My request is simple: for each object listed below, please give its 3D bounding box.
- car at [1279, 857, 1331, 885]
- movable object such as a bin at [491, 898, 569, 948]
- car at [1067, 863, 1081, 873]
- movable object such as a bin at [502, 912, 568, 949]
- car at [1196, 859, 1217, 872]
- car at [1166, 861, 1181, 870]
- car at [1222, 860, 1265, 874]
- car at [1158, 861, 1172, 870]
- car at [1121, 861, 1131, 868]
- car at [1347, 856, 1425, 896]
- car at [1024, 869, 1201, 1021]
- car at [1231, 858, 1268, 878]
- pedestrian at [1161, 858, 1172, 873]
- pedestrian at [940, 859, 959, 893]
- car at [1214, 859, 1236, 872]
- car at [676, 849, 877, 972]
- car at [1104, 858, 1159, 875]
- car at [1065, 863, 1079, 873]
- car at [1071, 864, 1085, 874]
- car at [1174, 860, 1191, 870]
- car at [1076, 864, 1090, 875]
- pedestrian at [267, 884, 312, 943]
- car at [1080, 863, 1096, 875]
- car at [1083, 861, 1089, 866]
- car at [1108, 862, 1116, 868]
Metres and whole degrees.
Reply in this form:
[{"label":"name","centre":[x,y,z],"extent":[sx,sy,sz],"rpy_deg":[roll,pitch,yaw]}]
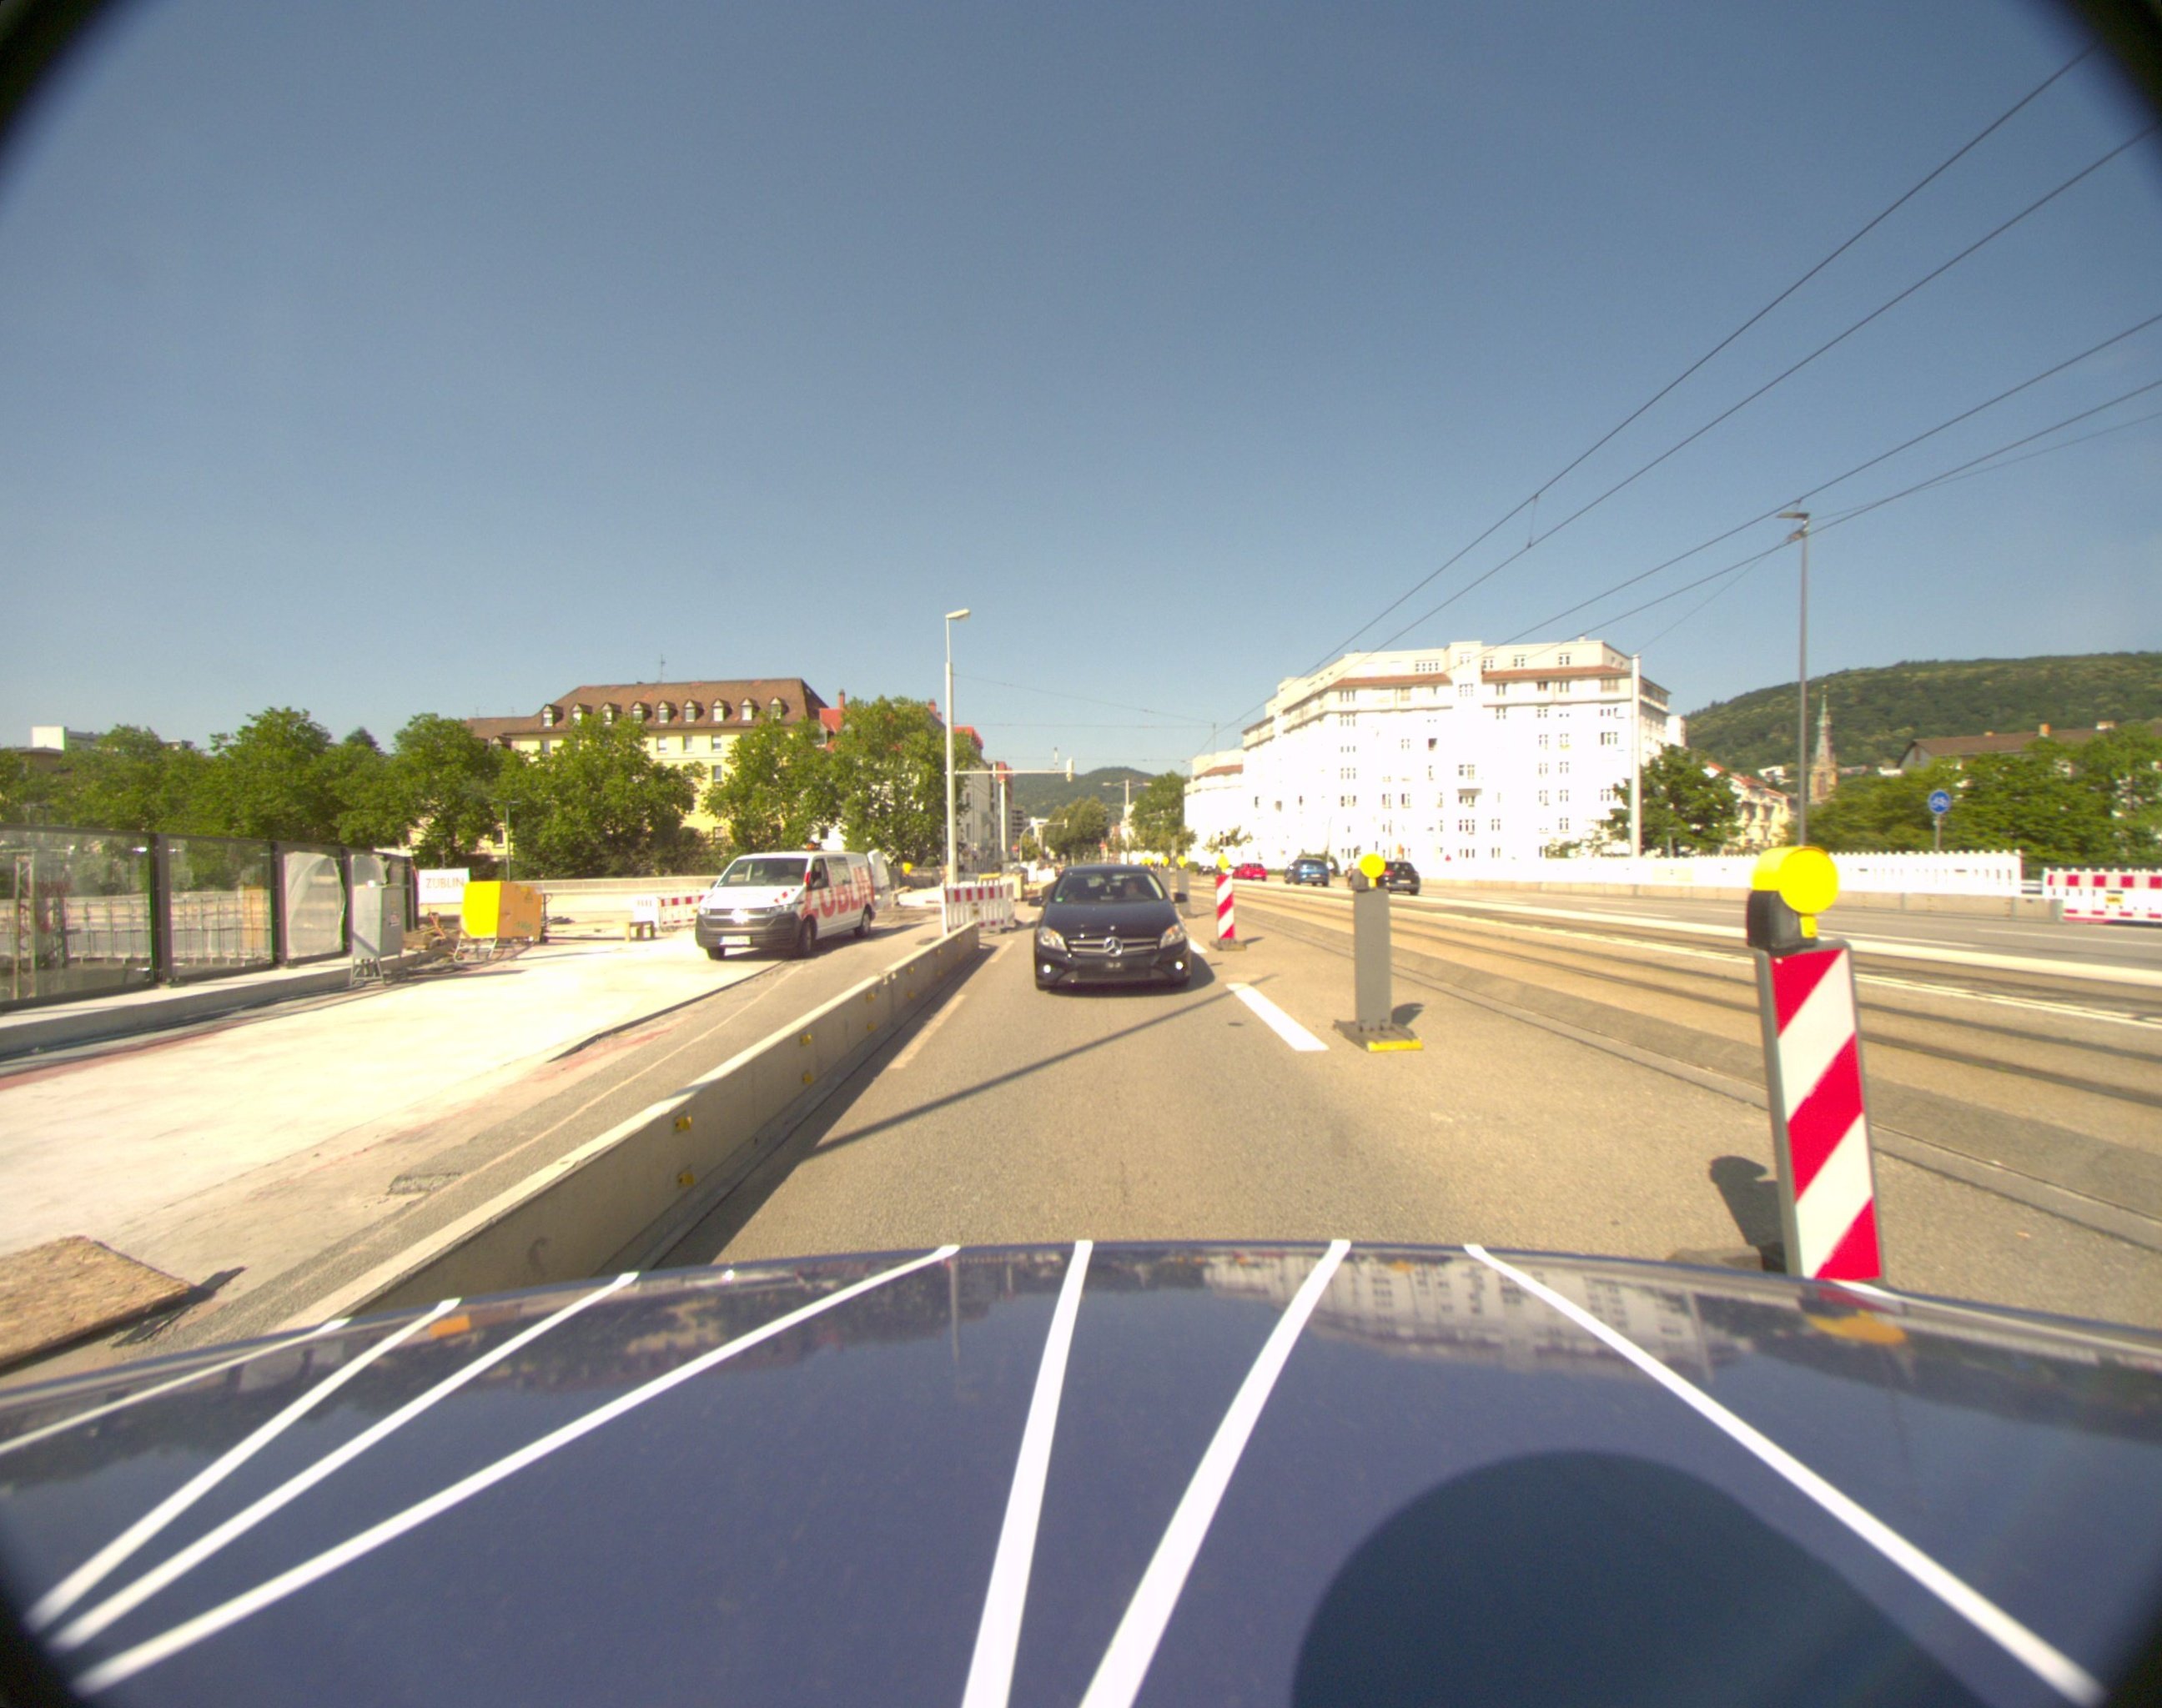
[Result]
[{"label":"car","centre":[12.857,0.931,43.808],"extent":[1.674,1.541,4.556],"rpy_deg":[0,0,0]},{"label":"movable object such as a bin","centre":[-14.420,1.817,19.882],"extent":[2.038,1.123,0.609],"rpy_deg":[-5,1,23]},{"label":"car","centre":[-0.995,1.997,108.970],"extent":[1.767,1.346,3.999],"rpy_deg":[-2,-1,-4]},{"label":"movable object such as a bin","centre":[-13.271,1.839,18.483],"extent":[0.754,0.837,1.107],"rpy_deg":[-1,-3,40]},{"label":"car","centre":[16.995,1.555,102.904],"extent":[1.740,1.628,3.738],"rpy_deg":[-1,0,-7]},{"label":"car","centre":[15.018,1.822,123.592],"extent":[1.740,1.475,3.739],"rpy_deg":[-1,0,-5]},{"label":"car","centre":[16.783,1.346,78.634],"extent":[1.705,1.403,4.475],"rpy_deg":[1,0,-31]},{"label":"car","centre":[14.490,1.898,131.022],"extent":[1.740,1.475,3.739],"rpy_deg":[-1,0,-5]},{"label":"car","centre":[10.335,2.359,175.220],"extent":[1.740,1.475,3.739],"rpy_deg":[-1,0,-5]},{"label":"car","centre":[12.353,0.845,31.046],"extent":[1.509,1.491,4.177],"rpy_deg":[1,0,0]},{"label":"car","centre":[0.395,0.958,9.913],"extent":[1.702,1.400,4.623],"rpy_deg":[-3,0,2]},{"label":"car","centre":[12.795,1.072,58.037],"extent":[1.538,1.429,3.977],"rpy_deg":[1,0,-6]},{"label":"pedestrian","centre":[9.712,1.322,86.074],"extent":[1.003,1.697,0.822],"rpy_deg":[-1,1,-7]},{"label":"pedestrian","centre":[-6.969,1.140,40.334],"extent":[0.821,1.784,0.864],"rpy_deg":[1,0,-1]},{"label":"car","centre":[17.860,1.417,94.278],"extent":[1.740,1.628,3.739],"rpy_deg":[-1,0,-5]},{"label":"car","centre":[-5.811,0.953,15.303],"extent":[1.883,2.021,4.891],"rpy_deg":[-2,0,2]},{"label":"car","centre":[4.560,1.121,68.791],"extent":[4.632,1.429,1.646],"rpy_deg":[1,0,21]},{"label":"car","centre":[-1.389,2.141,116.596],"extent":[1.768,1.346,3.998],"rpy_deg":[-2,-1,-6]},{"label":"car","centre":[-0.387,2.032,102.543],"extent":[1.767,1.346,4.000],"rpy_deg":[-2,-1,-2]},{"label":"car","centre":[15.470,1.711,115.545],"extent":[1.740,1.475,3.739],"rpy_deg":[-1,0,-5]},{"label":"car","centre":[0.242,1.969,96.741],"extent":[1.767,1.346,4.000],"rpy_deg":[-2,-1,-1]},{"label":"pedestrian","centre":[-32.779,2.425,31.471],"extent":[0.878,2.319,0.797],"rpy_deg":[-6,1,-25]},{"label":"car","centre":[0.842,1.791,89.305],"extent":[1.766,1.313,4.001],"rpy_deg":[-2,-1,1]},{"label":"car","centre":[1.470,2.825,223.860],"extent":[1.798,1.475,3.739],"rpy_deg":[-1,0,-3]},{"label":"car","centre":[8.248,2.979,203.247],"extent":[1.739,1.475,3.739],"rpy_deg":[-1,0,-3]}]
